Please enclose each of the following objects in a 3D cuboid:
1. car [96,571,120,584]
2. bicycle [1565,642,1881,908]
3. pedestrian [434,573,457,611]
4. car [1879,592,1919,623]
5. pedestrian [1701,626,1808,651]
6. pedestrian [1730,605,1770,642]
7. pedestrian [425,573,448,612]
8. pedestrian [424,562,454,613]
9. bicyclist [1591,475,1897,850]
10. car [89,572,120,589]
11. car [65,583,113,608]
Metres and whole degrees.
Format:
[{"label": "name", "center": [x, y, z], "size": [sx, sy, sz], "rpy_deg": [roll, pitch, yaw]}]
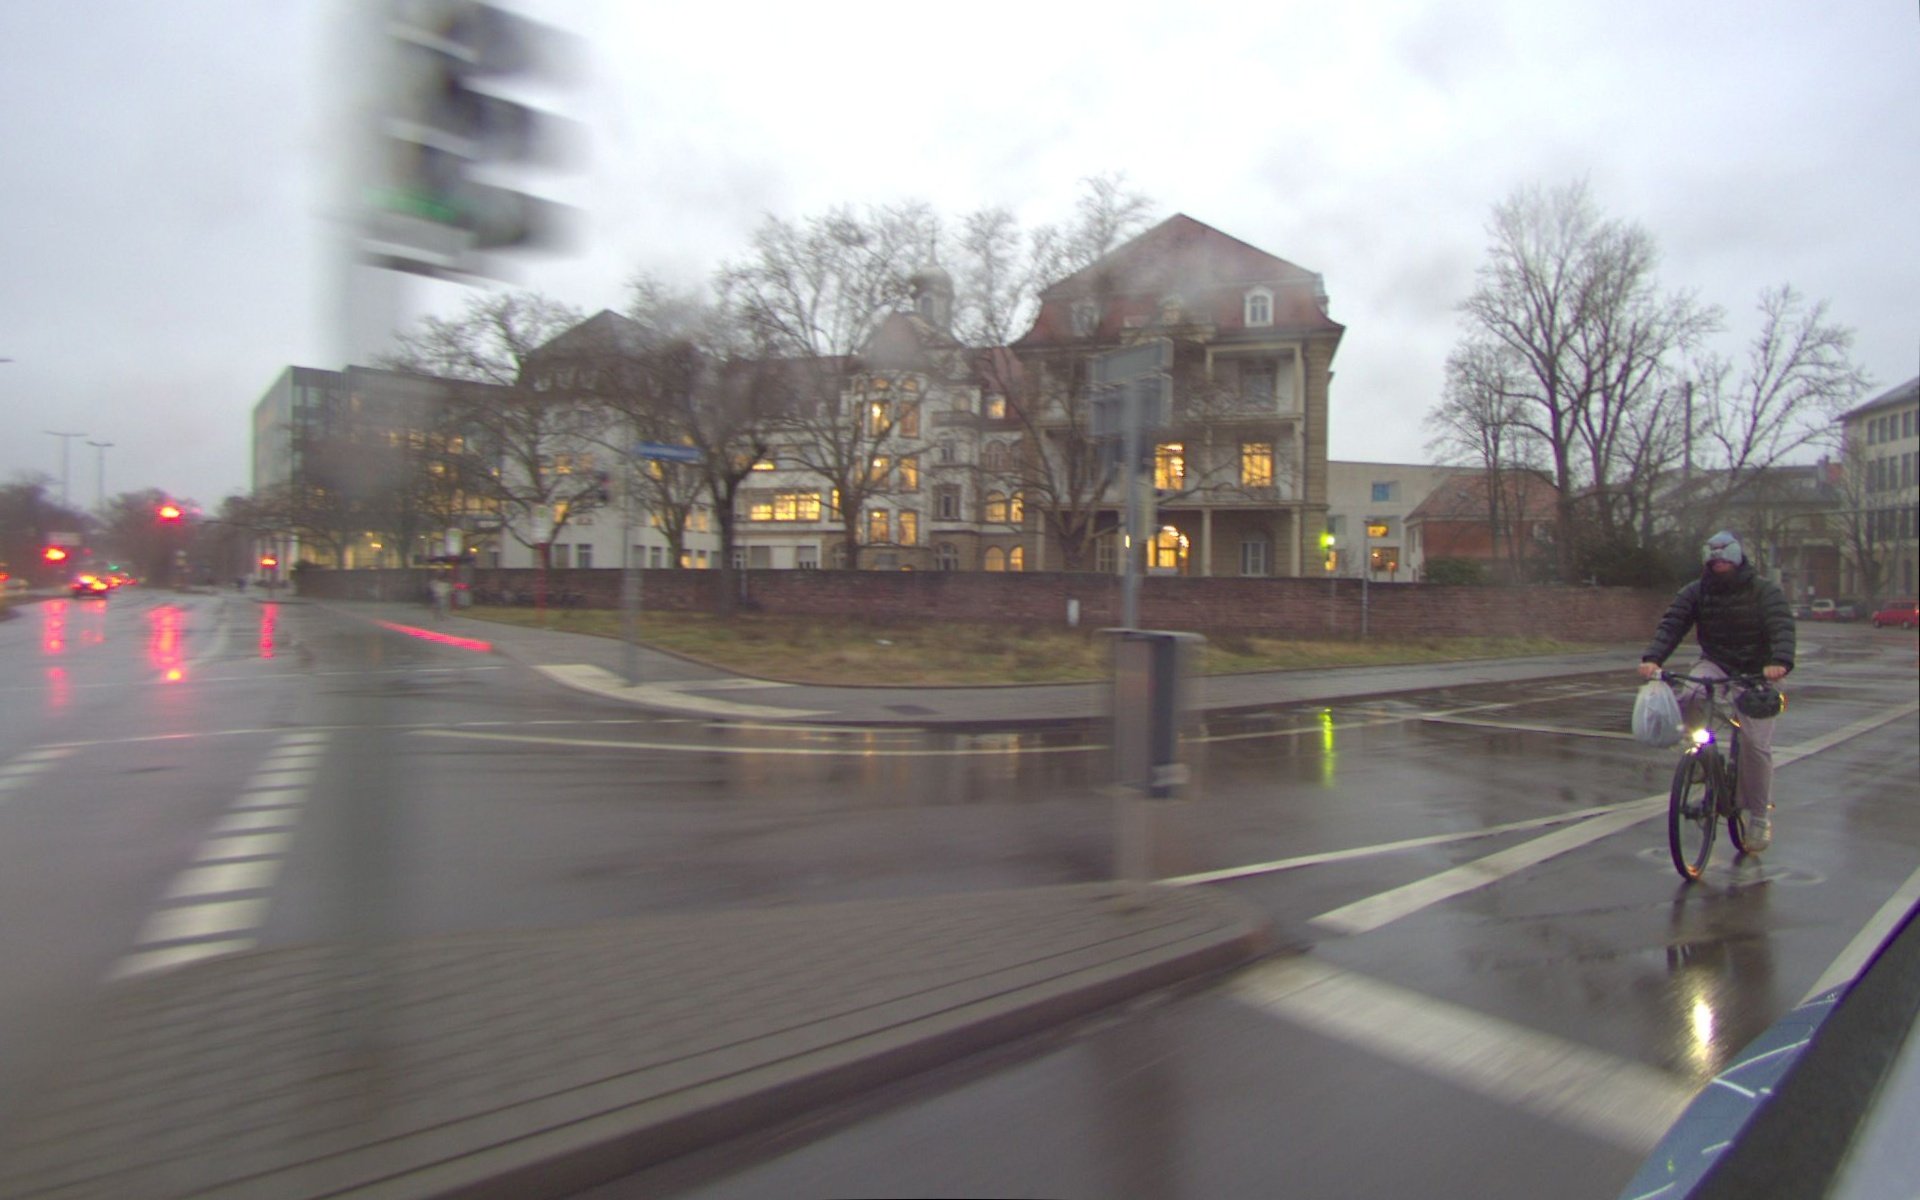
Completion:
[{"label": "car", "center": [-114.003, -3.007, 135.448], "size": [1.962, 1.587, 4.471], "rpy_deg": [2, 0, -35]}, {"label": "bicycle", "center": [4.526, 0.931, 5.984], "size": [1.866, 1.238, 0.796], "rpy_deg": [-2, 1, -29]}, {"label": "pedestrian", "center": [-25.570, -0.417, 50.260], "size": [0.794, 1.853, 0.947], "rpy_deg": [1, 1, -40]}, {"label": "car", "center": [66.849, 0.529, 70.455], "size": [2.108, 2.036, 4.557], "rpy_deg": [2, 1, 11]}, {"label": "pedestrian", "center": [30.502, 1.469, 38.924], "size": [3.061, 0.942, 0.942], "rpy_deg": [-1, -1, 21]}, {"label": "pedestrian", "center": [30.418, 0.902, 38.993], "size": [0.970, 1.333, 0.809], "rpy_deg": [2, 1, 21]}, {"label": "pedestrian", "center": [-25.299, -0.368, 48.913], "size": [0.794, 1.853, 0.947], "rpy_deg": [1, 1, -40]}, {"label": "pedestrian", "center": [-19.181, -0.455, 37.255], "size": [0.794, 1.853, 0.947], "rpy_deg": [1, 1, -40]}, {"label": "bicyclist", "center": [4.546, 0.296, 5.897], "size": [1.211, 1.906, 1.028], "rpy_deg": [-1, 1, -30]}, {"label": "car", "center": [-84.288, -1.942, 99.794], "size": [1.962, 1.587, 4.470], "rpy_deg": [2, 0, -36]}, {"label": "car", "center": [-59.982, -0.305, 69.759], "size": [1.961, 1.587, 4.471], "rpy_deg": [3, -1, -35]}]
